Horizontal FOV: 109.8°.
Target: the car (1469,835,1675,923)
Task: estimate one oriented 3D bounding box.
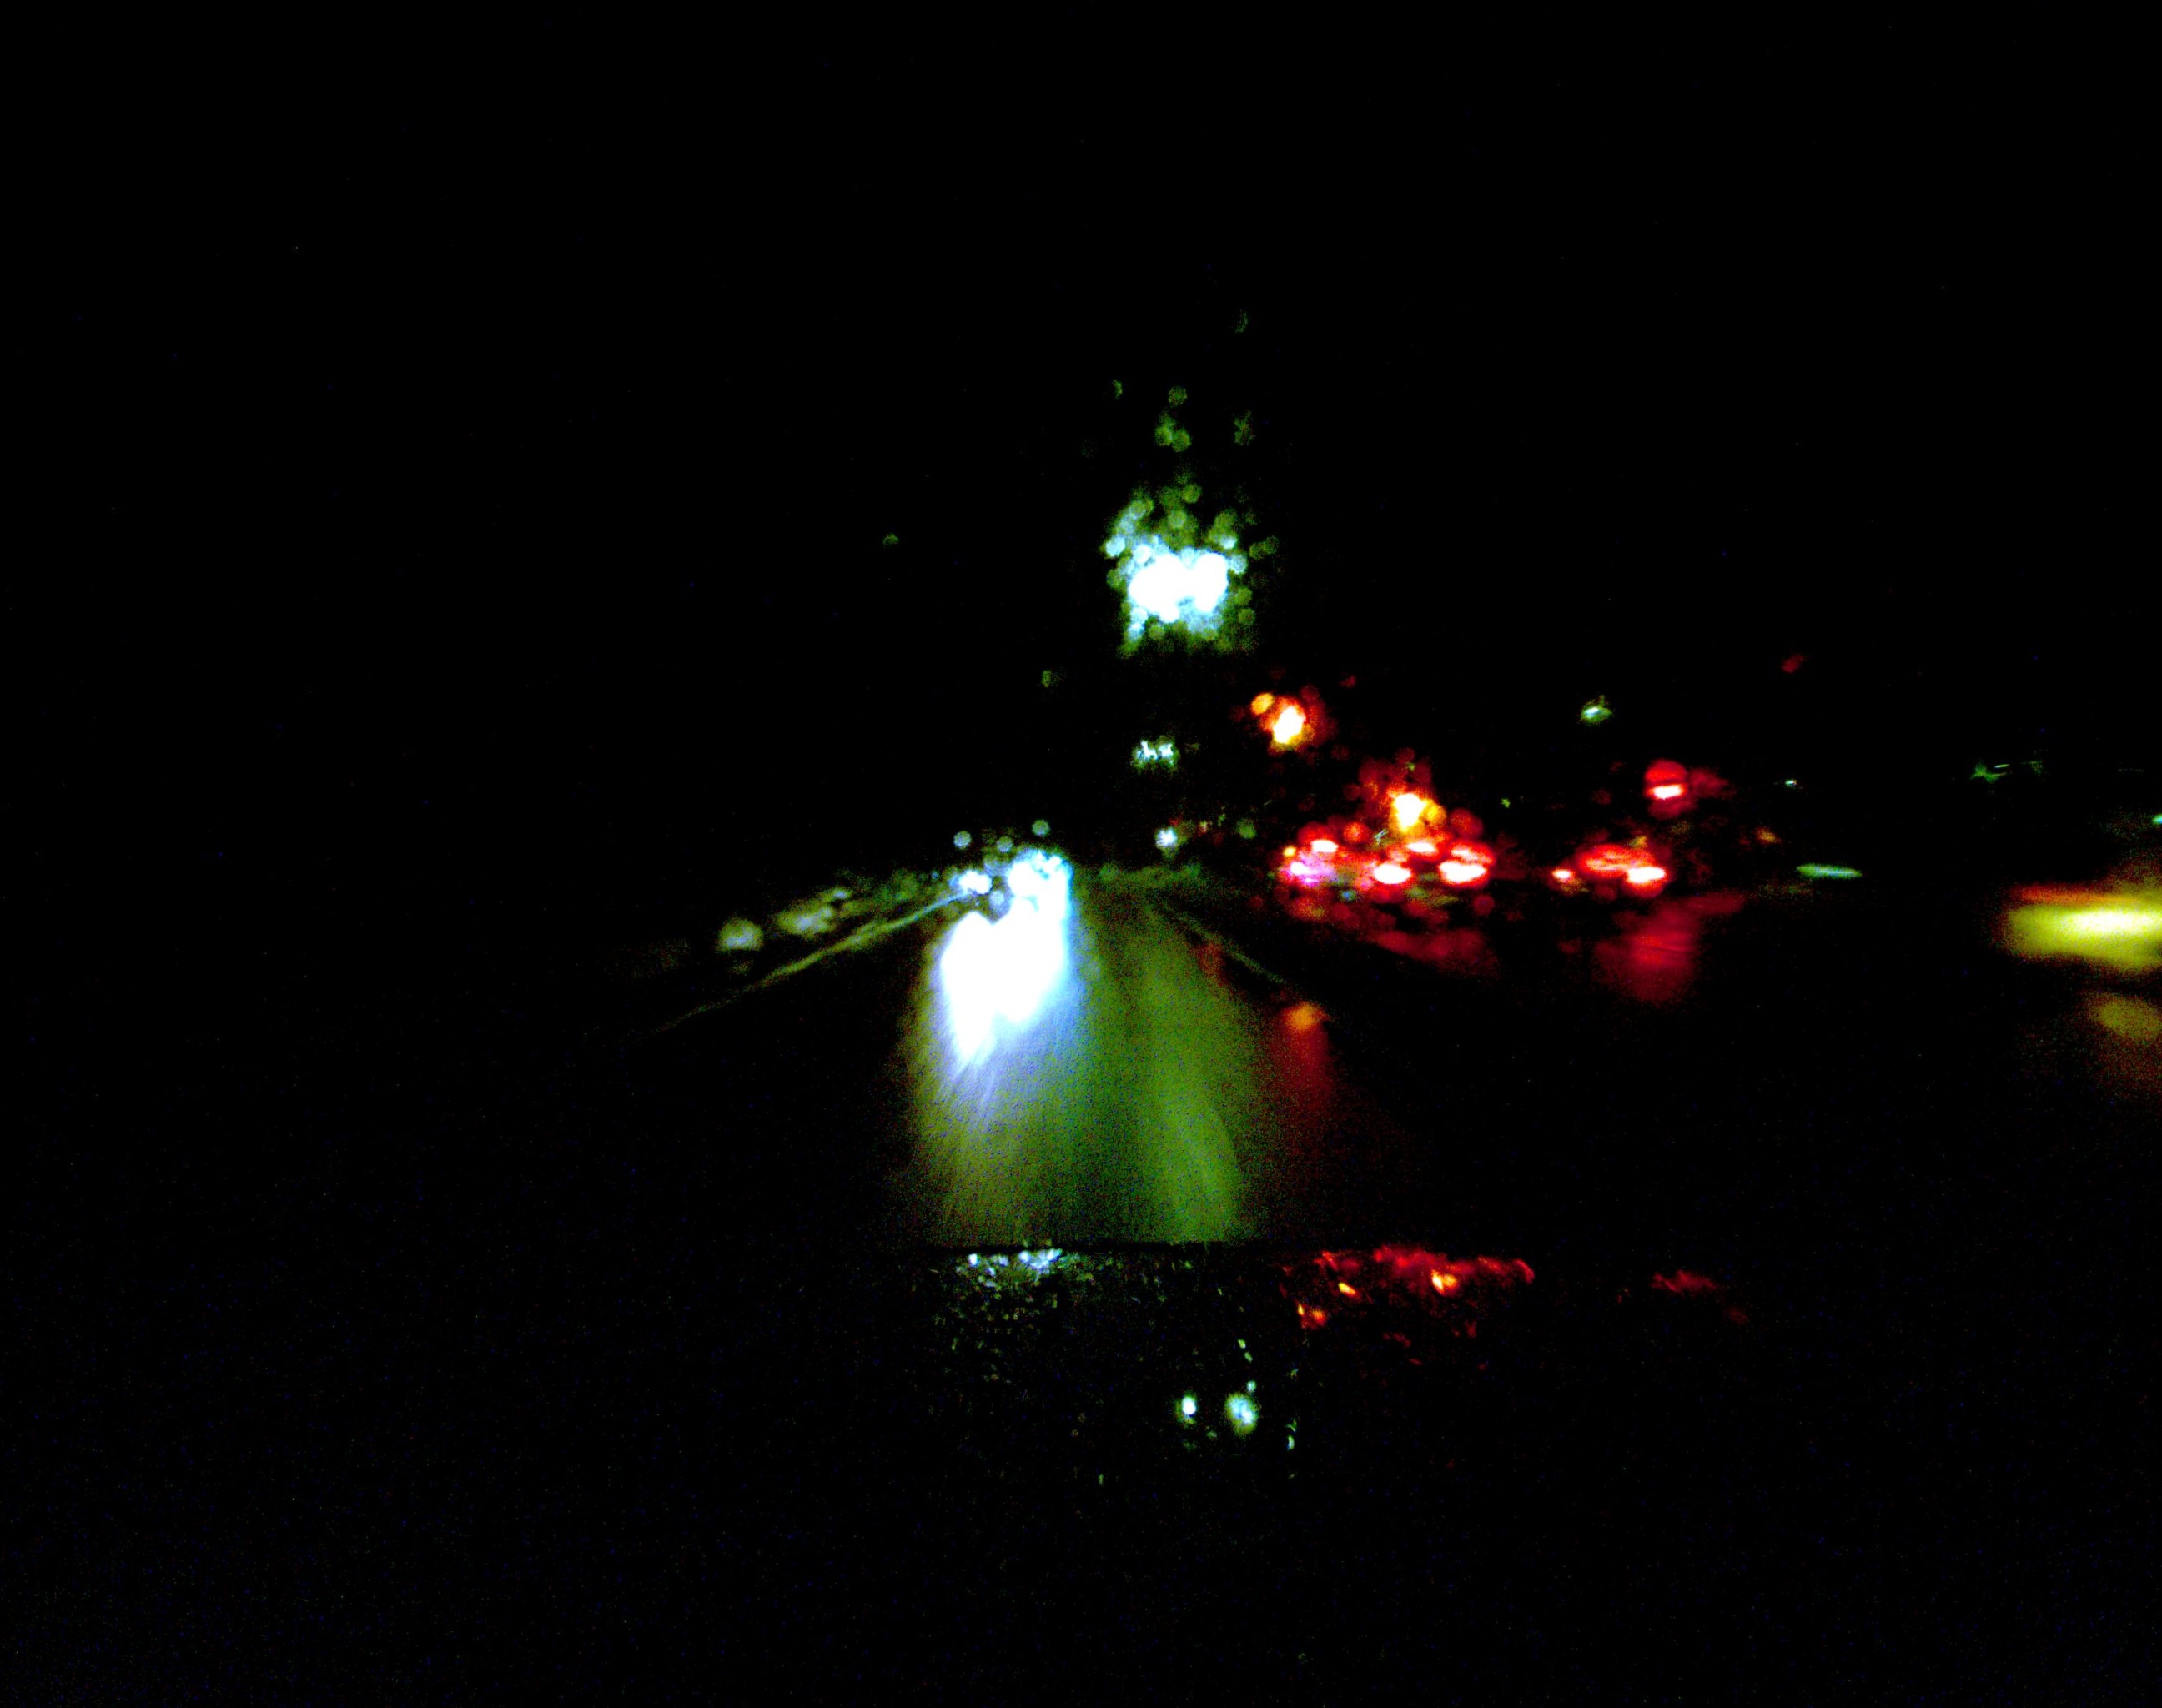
[{"bbox_3d":[9.546,0.409,15.149,1.827,1.444,3.601,-3,1,2],"label":"car"}]

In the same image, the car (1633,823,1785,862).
[{"bbox_3d":[25.714,-0.476,31.313,4.494,1.357,1.668,-3,1,24],"label":"car"}]

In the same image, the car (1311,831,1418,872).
[{"bbox_3d":[13.772,-0.120,36.933,4.512,1.833,2.004,-2,1,31],"label":"car"}]

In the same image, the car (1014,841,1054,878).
[{"bbox_3d":[-2.486,0.230,41.006,1.794,1.802,4.197,-3,1,-1],"label":"car"}]

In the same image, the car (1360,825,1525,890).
[{"bbox_3d":[10.170,0.064,21.975,2.364,1.547,5.159,-3,0,1],"label":"car"}]

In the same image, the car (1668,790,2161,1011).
[{"bbox_3d":[9.049,0.321,8.275,1.998,1.736,4.499,-3,1,4],"label":"car"}]

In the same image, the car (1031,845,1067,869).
[{"bbox_3d":[-2.350,0.198,56.288,1.998,1.544,4.694,-3,1,5],"label":"car"}]

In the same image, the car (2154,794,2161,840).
[{"bbox_3d":[39.662,-1.376,25.476,2.002,1.582,3.991,-3,1,-28],"label":"car"}]

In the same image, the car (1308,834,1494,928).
[{"bbox_3d":[6.340,0.428,15.689,1.962,1.562,4.466,-3,1,1],"label":"car"}]

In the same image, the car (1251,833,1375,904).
[{"bbox_3d":[6.375,0.313,21.565,1.998,1.688,5.011,-3,1,1],"label":"car"}]

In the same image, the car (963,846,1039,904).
[{"bbox_3d":[-2.507,0.602,25.025,1.878,1.579,4.888,-3,1,0],"label":"car"}]
